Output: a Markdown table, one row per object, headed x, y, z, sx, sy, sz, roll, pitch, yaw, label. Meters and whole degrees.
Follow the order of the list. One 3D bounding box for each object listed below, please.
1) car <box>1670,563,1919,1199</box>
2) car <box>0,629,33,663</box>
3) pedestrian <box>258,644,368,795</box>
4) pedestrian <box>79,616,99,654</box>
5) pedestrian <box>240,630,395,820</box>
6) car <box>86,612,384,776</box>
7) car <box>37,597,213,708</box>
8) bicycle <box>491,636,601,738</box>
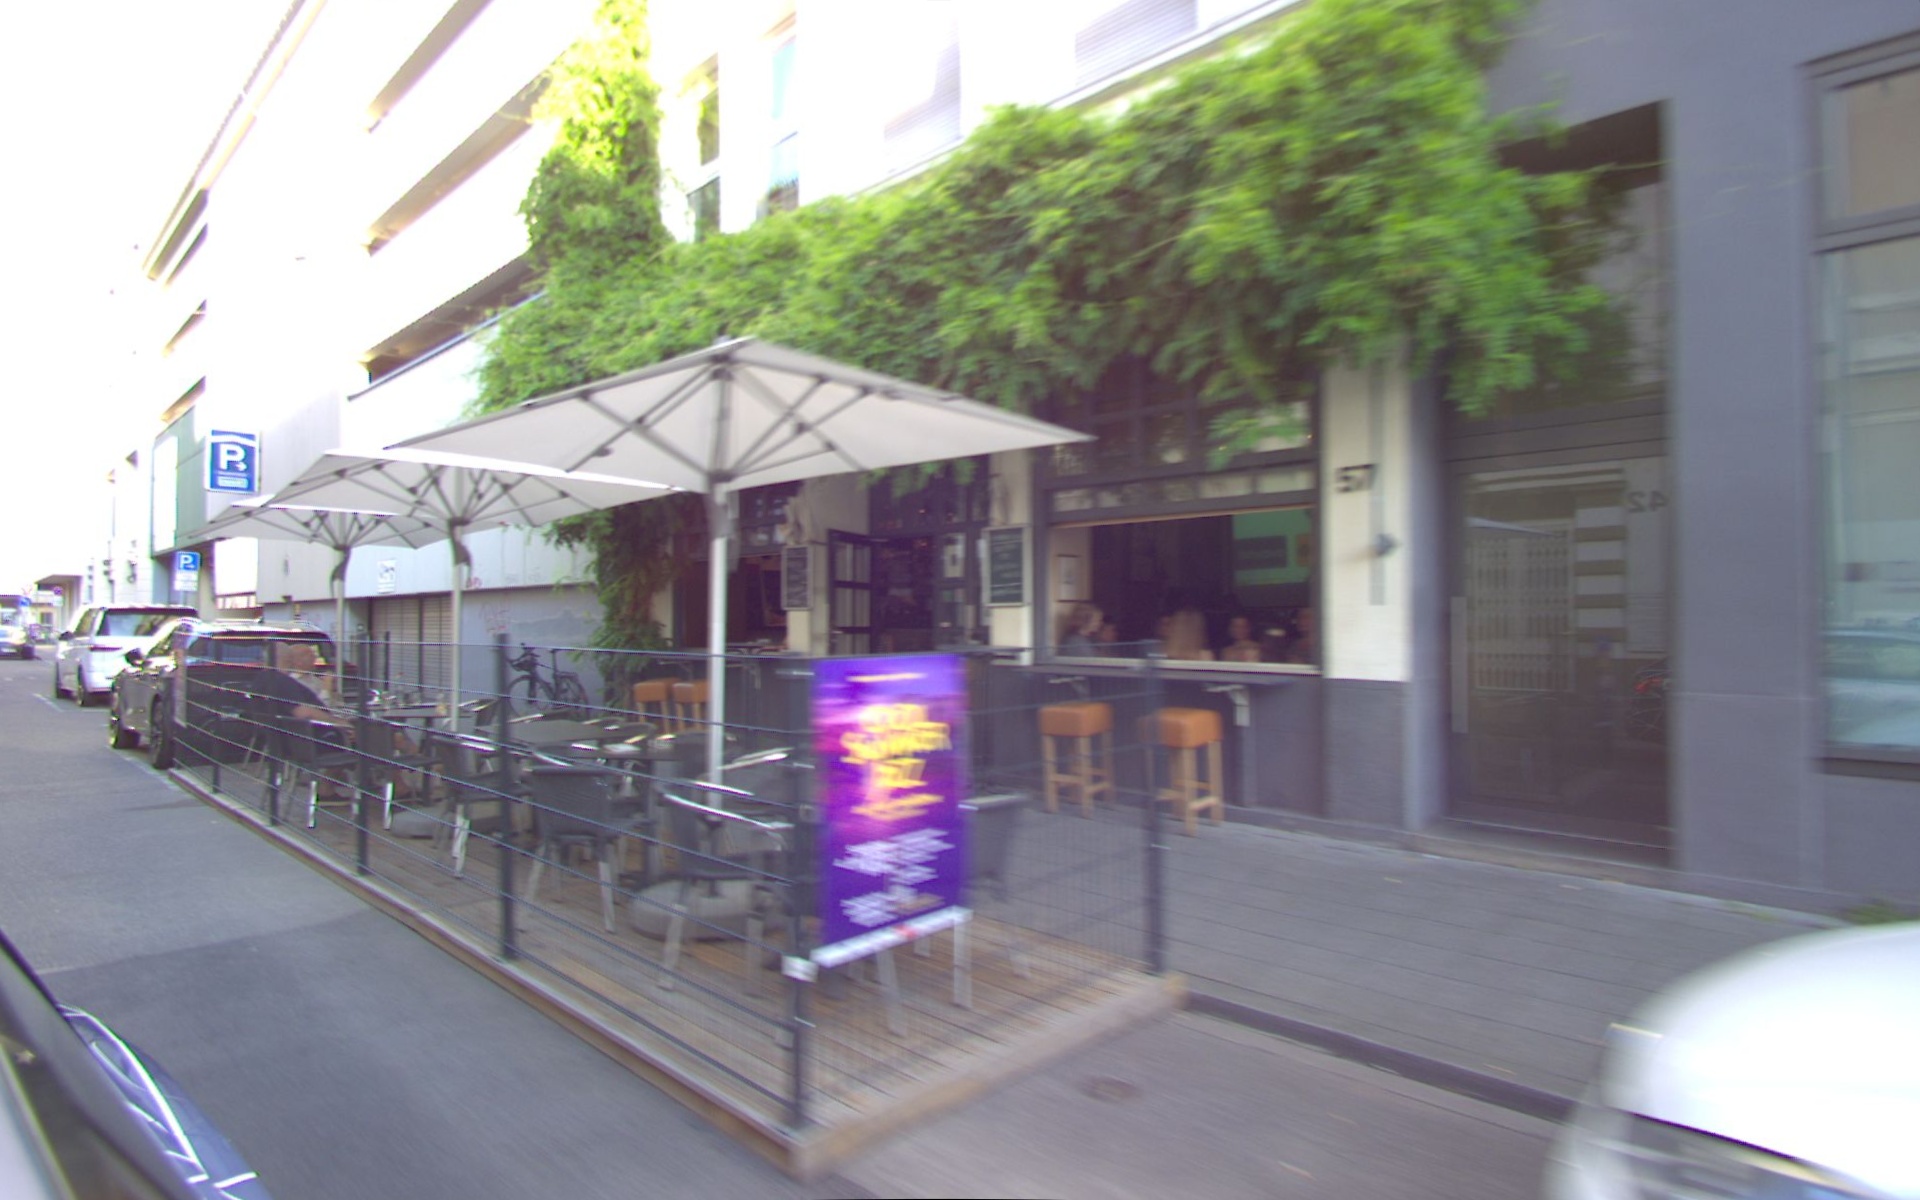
| x | y | z | sx | sy | sz | roll | pitch | yaw | label |
| --- | --- | --- | --- | --- | --- | --- | --- | --- | --- |
| 2.833 | 0.670 | 0.497 | 3.883 | 1.424 | 1.639 | -1 | -2 | 43 | car |
| -44.107 | 2.095 | 46.654 | 1.970 | 1.428 | 4.563 | 3 | -3 | -43 | car |
| -5.336 | 0.957 | 8.385 | 0.544 | 1.174 | 0.743 | 0 | -2 | -14 | pedestrian |
| -37.850 | 1.528 | 43.999 | 0.565 | 1.638 | 0.611 | -2 | -1 | 44 | pedestrian |
| -4.793 | 0.876 | 7.548 | 0.916 | 1.297 | 0.772 | -2 | -2 | 44 | pedestrian |
| -8.778 | 0.997 | 12.073 | 4.770 | 1.580 | 1.861 | -1 | -4 | 42 | car |
| -16.760 | 1.009 | 20.227 | 4.849 | 1.955 | 1.972 | -1 | -3 | 42 | car |
| -5.217 | 1.047 | 12.706 | 0.635 | 1.169 | 1.795 | 0 | -1 | -45 | bicycle |
